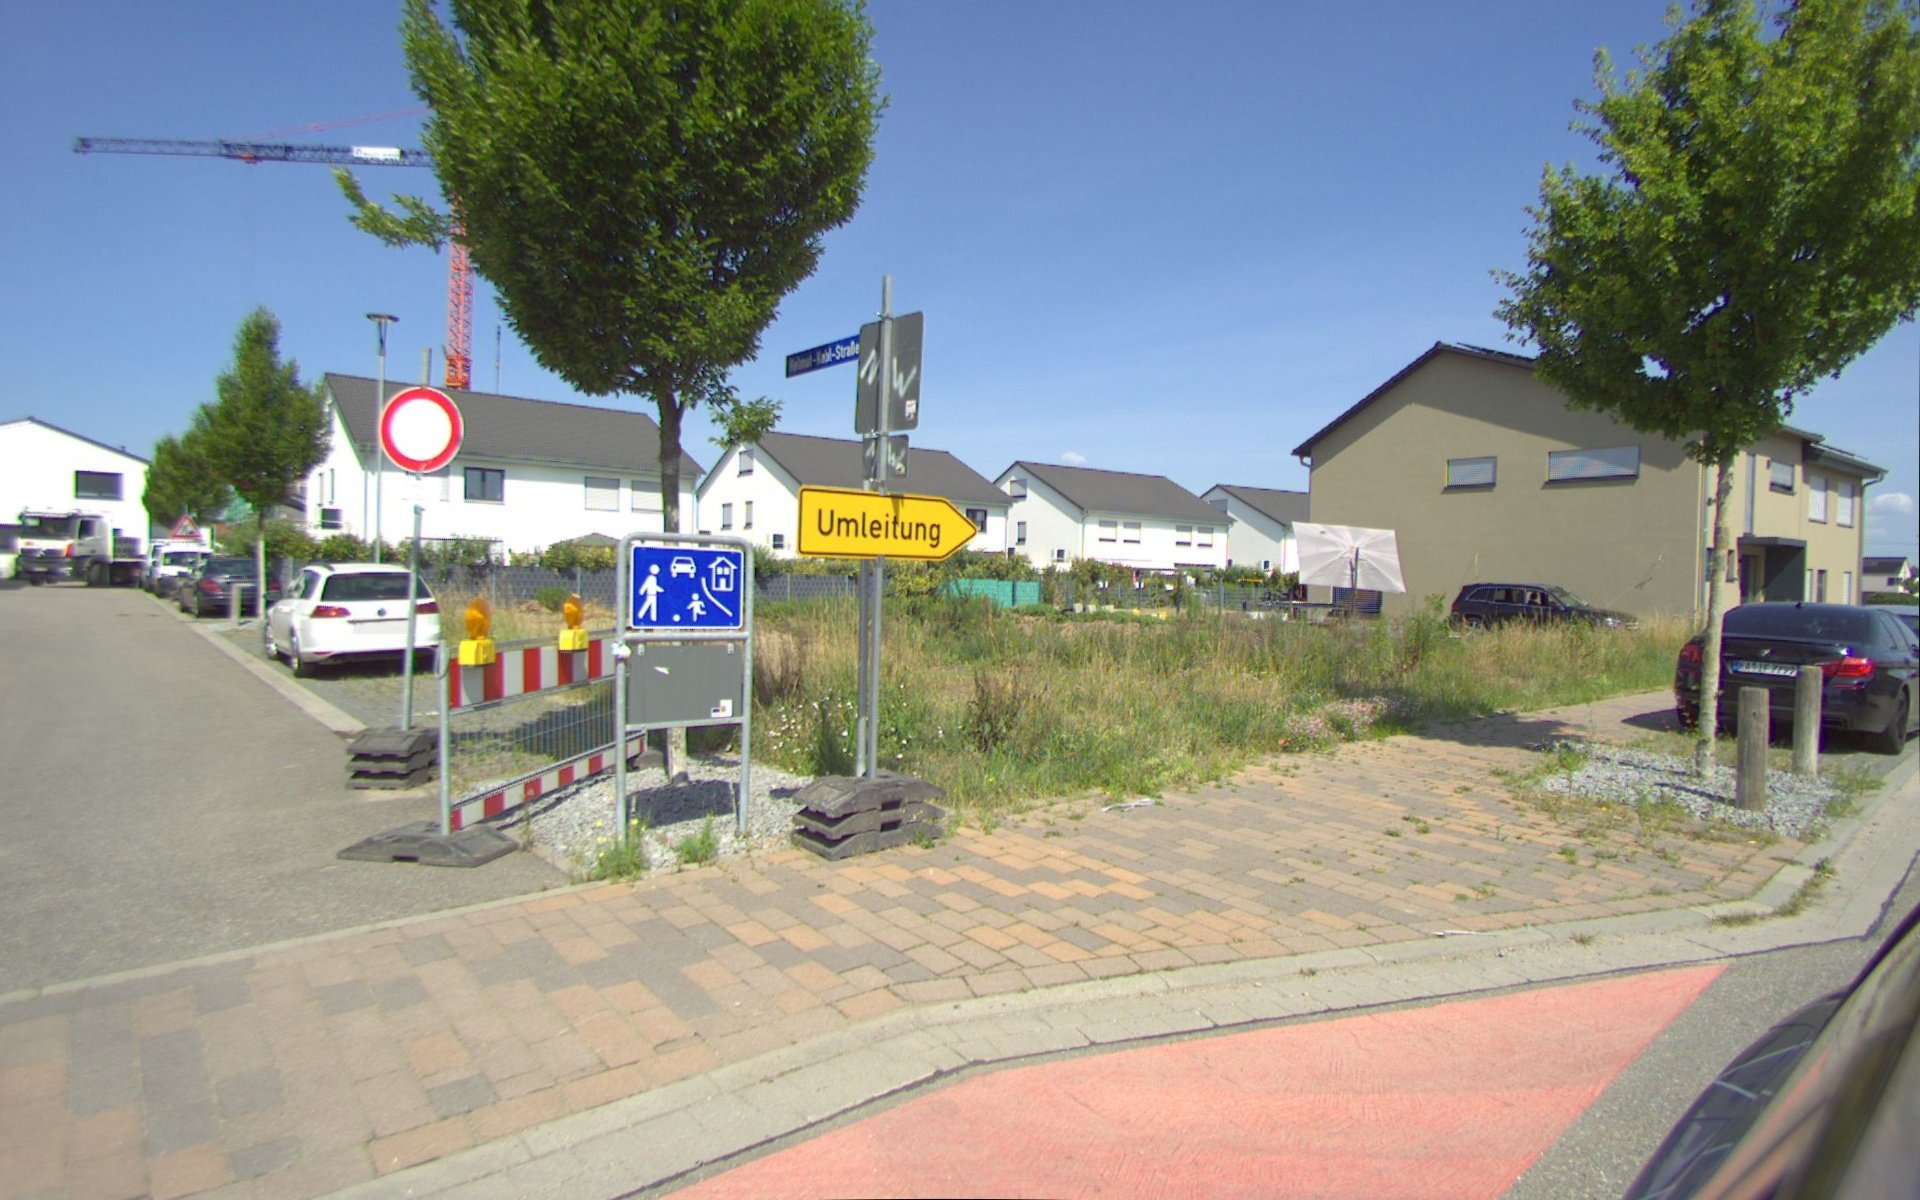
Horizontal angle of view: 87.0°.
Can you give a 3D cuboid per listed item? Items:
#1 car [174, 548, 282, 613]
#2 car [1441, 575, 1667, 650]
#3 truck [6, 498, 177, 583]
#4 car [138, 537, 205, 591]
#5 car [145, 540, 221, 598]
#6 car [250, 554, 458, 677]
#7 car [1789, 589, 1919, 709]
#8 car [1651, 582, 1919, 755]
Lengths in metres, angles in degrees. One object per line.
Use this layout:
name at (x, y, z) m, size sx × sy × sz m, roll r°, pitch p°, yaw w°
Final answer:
car at (-18.511, -0.548, 25.524) m, size 1.850 × 1.496 × 4.166 m, roll -1°, pitch 3°, yaw -41°
car at (15.650, 0.241, 26.889) m, size 1.964 × 1.664 × 4.760 m, roll 0°, pitch 3°, yaw -38°
truck at (-38.037, -2.550, 44.679) m, size 2.252 × 3.433 × 6.983 m, roll -1°, pitch 2°, yaw -8°
car at (-31.229, -1.454, 40.058) m, size 1.850 × 2.004 × 4.605 m, roll -1°, pitch 3°, yaw -41°
car at (-26.868, -1.102, 34.947) m, size 1.850 × 1.859 × 4.166 m, roll -1°, pitch 3°, yaw -41°
car at (-8.720, 0.102, 14.396) m, size 1.850 × 1.453 × 4.166 m, roll -1°, pitch 3°, yaw -41°
car at (14.479, 0.706, 15.394) m, size 5.200 × 1.529 × 1.923 m, roll 1°, pitch 2°, yaw -40°
car at (9.929, 0.658, 11.543) m, size 5.045 × 1.487 × 1.924 m, roll 1°, pitch 2°, yaw -39°
